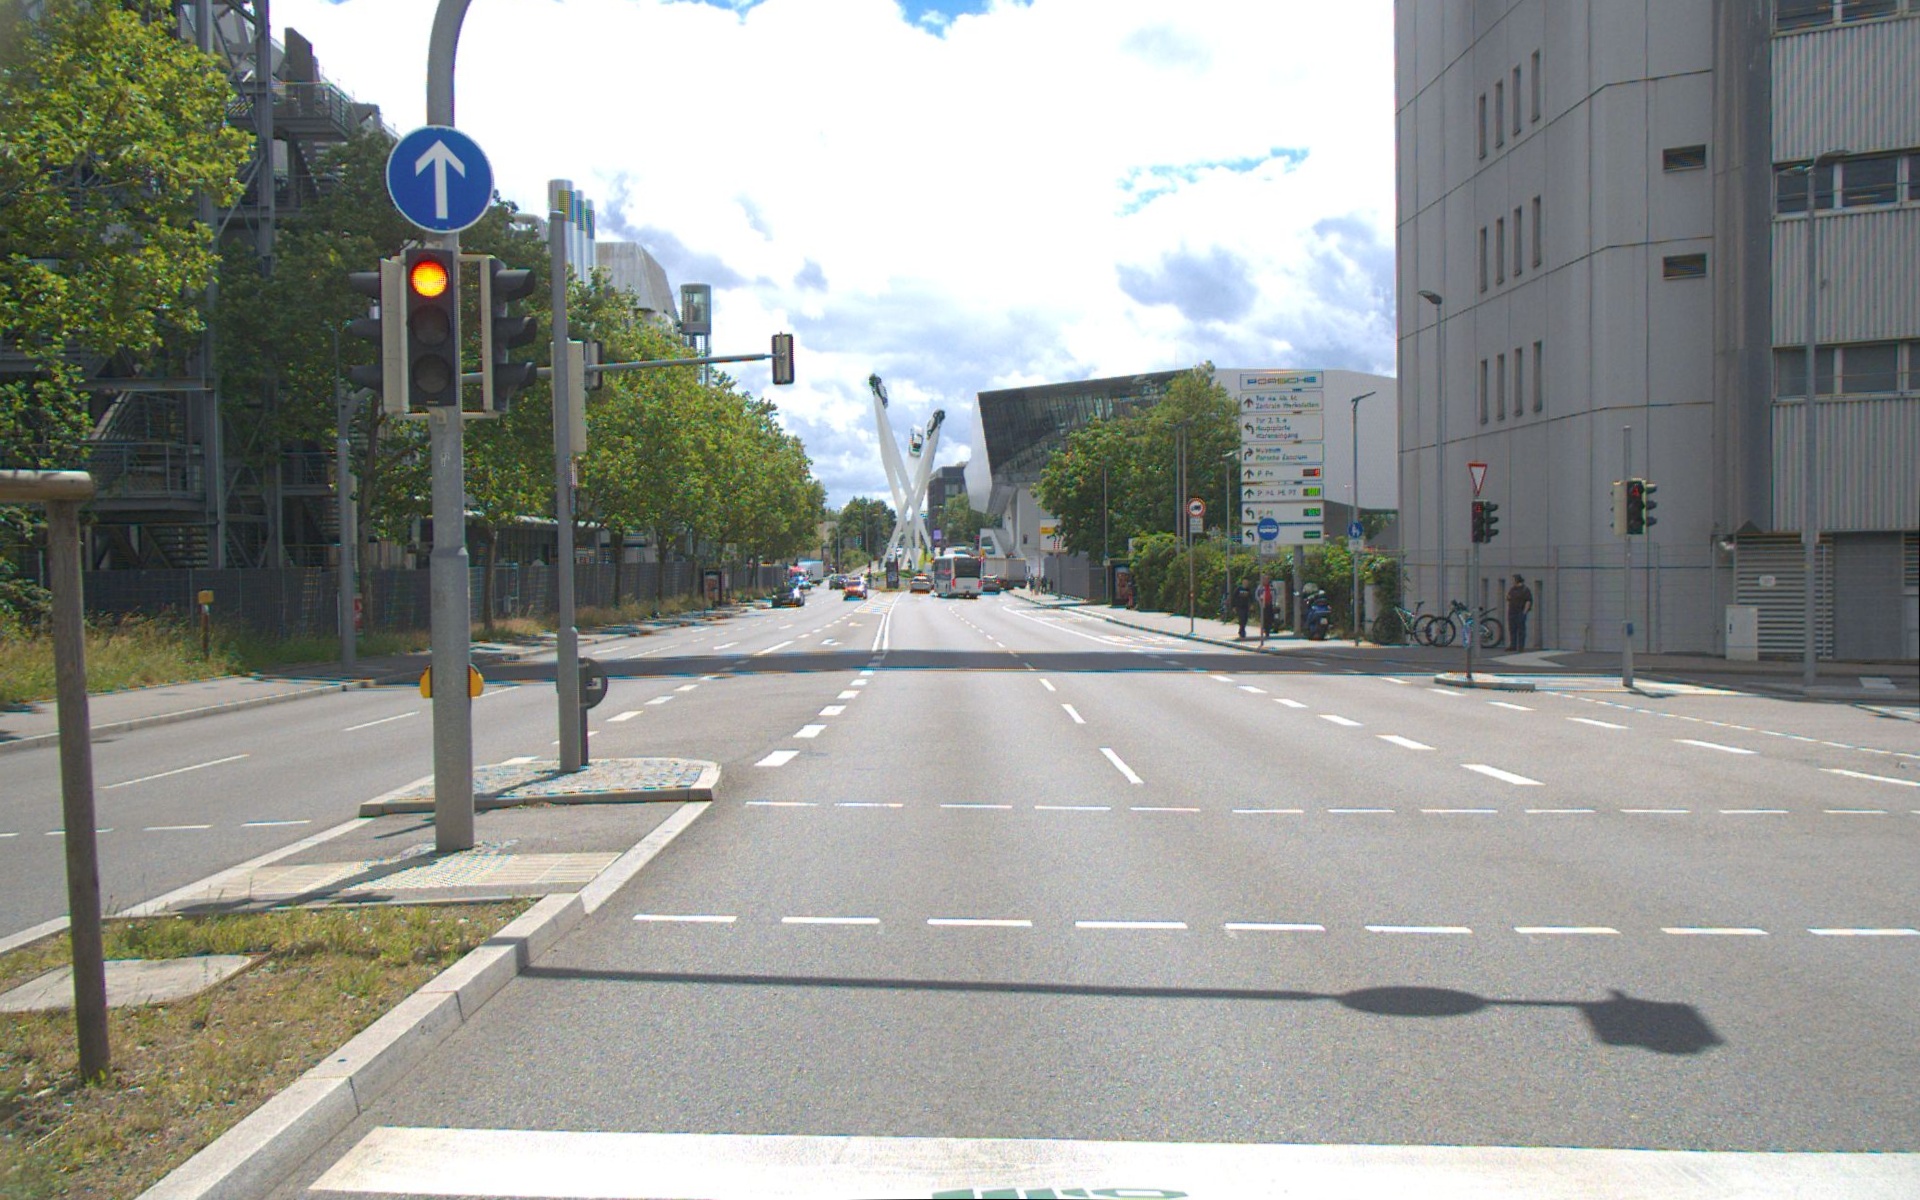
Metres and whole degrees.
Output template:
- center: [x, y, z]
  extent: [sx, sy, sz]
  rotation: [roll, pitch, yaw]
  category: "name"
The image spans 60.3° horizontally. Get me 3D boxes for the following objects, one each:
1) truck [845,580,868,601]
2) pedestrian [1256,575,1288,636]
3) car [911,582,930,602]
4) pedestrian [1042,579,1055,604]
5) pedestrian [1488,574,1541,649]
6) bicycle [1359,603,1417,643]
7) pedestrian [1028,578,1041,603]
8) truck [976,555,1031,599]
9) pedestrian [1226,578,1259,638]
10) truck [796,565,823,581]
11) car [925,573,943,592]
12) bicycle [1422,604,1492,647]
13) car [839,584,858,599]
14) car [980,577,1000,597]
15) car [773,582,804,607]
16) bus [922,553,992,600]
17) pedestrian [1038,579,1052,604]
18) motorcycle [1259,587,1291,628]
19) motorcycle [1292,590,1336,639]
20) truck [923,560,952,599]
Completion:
- center: [-7.768, -0.711, 123.371]
  extent: [1.553, 1.564, 3.673]
  rotation: [0, 0, -6]
  category: "truck"
- center: [9.044, 0.154, 48.028]
  extent: [0.803, 1.772, 0.637]
  rotation: [0, 0, -1]
  category: "pedestrian"
- center: [-3.517, -0.731, 148.638]
  extent: [1.703, 1.772, 3.691]
  rotation: [0, 0, -1]
  category: "car"
- center: [7.384, -0.732, 137.808]
  extent: [1.008, 2.049, 0.883]
  rotation: [1, -1, -5]
  category: "pedestrian"
- center: [12.494, 0.252, 37.268]
  extent: [0.834, 1.653, 0.951]
  rotation: [0, 0, 40]
  category: "pedestrian"
- center: [10.618, 0.550, 41.101]
  extent: [0.391, 0.953, 1.917]
  rotation: [0, 0, -19]
  category: "bicycle"
- center: [6.212, -0.750, 137.813]
  extent: [1.008, 2.049, 0.883]
  rotation: [1, -1, -5]
  category: "pedestrian"
- center: [4.603, -2.368, 171.723]
  extent: [3.379, 4.468, 9.426]
  rotation: [0, 0, 17]
  category: "truck"
- center: [8.177, 0.221, 47.955]
  extent: [0.803, 1.737, 0.881]
  rotation: [0, 0, -1]
  category: "pedestrian"
- center: [-19.834, -3.603, 218.545]
  extent: [1.723, 2.049, 4.443]
  rotation: [0, 0, 22]
  category: "truck"
- center: [-2.449, -1.690, 156.440]
  extent: [1.703, 1.772, 3.691]
  rotation: [0, 0, -1]
  category: "car"
- center: [11.652, 0.583, 38.830]
  extent: [0.392, 0.953, 1.912]
  rotation: [0, 0, -26]
  category: "bicycle"
- center: [-12.050, -0.935, 179.111]
  extent: [1.784, 1.564, 3.672]
  rotation: [-2, 0, -7]
  category: "car"
- center: [2.708, -1.163, 149.642]
  extent: [1.703, 1.772, 3.691]
  rotation: [0, 0, -1]
  category: "car"
- center: [-11.304, -0.385, 109.102]
  extent: [1.782, 1.564, 3.677]
  rotation: [-2, 0, -2]
  category: "car"
- center: [-0.322, -1.844, 131.850]
  extent: [3.392, 3.605, 10.572]
  rotation: [0, 0, -12]
  category: "bus"
- center: [7.133, -0.719, 138.827]
  extent: [1.008, 2.049, 0.883]
  rotation: [1, -1, -5]
  category: "pedestrian"
- center: [10.069, 0.234, 52.875]
  extent: [0.562, 1.224, 2.024]
  rotation: [-2, 1, -1]
  category: "motorcycle"
- center: [9.621, 0.380, 45.009]
  extent: [0.692, 1.224, 2.024]
  rotation: [-2, 1, -1]
  category: "motorcycle"
- center: [-2.299, -2.105, 172.570]
  extent: [2.341, 3.965, 6.181]
  rotation: [0, 0, 6]
  category: "truck"
